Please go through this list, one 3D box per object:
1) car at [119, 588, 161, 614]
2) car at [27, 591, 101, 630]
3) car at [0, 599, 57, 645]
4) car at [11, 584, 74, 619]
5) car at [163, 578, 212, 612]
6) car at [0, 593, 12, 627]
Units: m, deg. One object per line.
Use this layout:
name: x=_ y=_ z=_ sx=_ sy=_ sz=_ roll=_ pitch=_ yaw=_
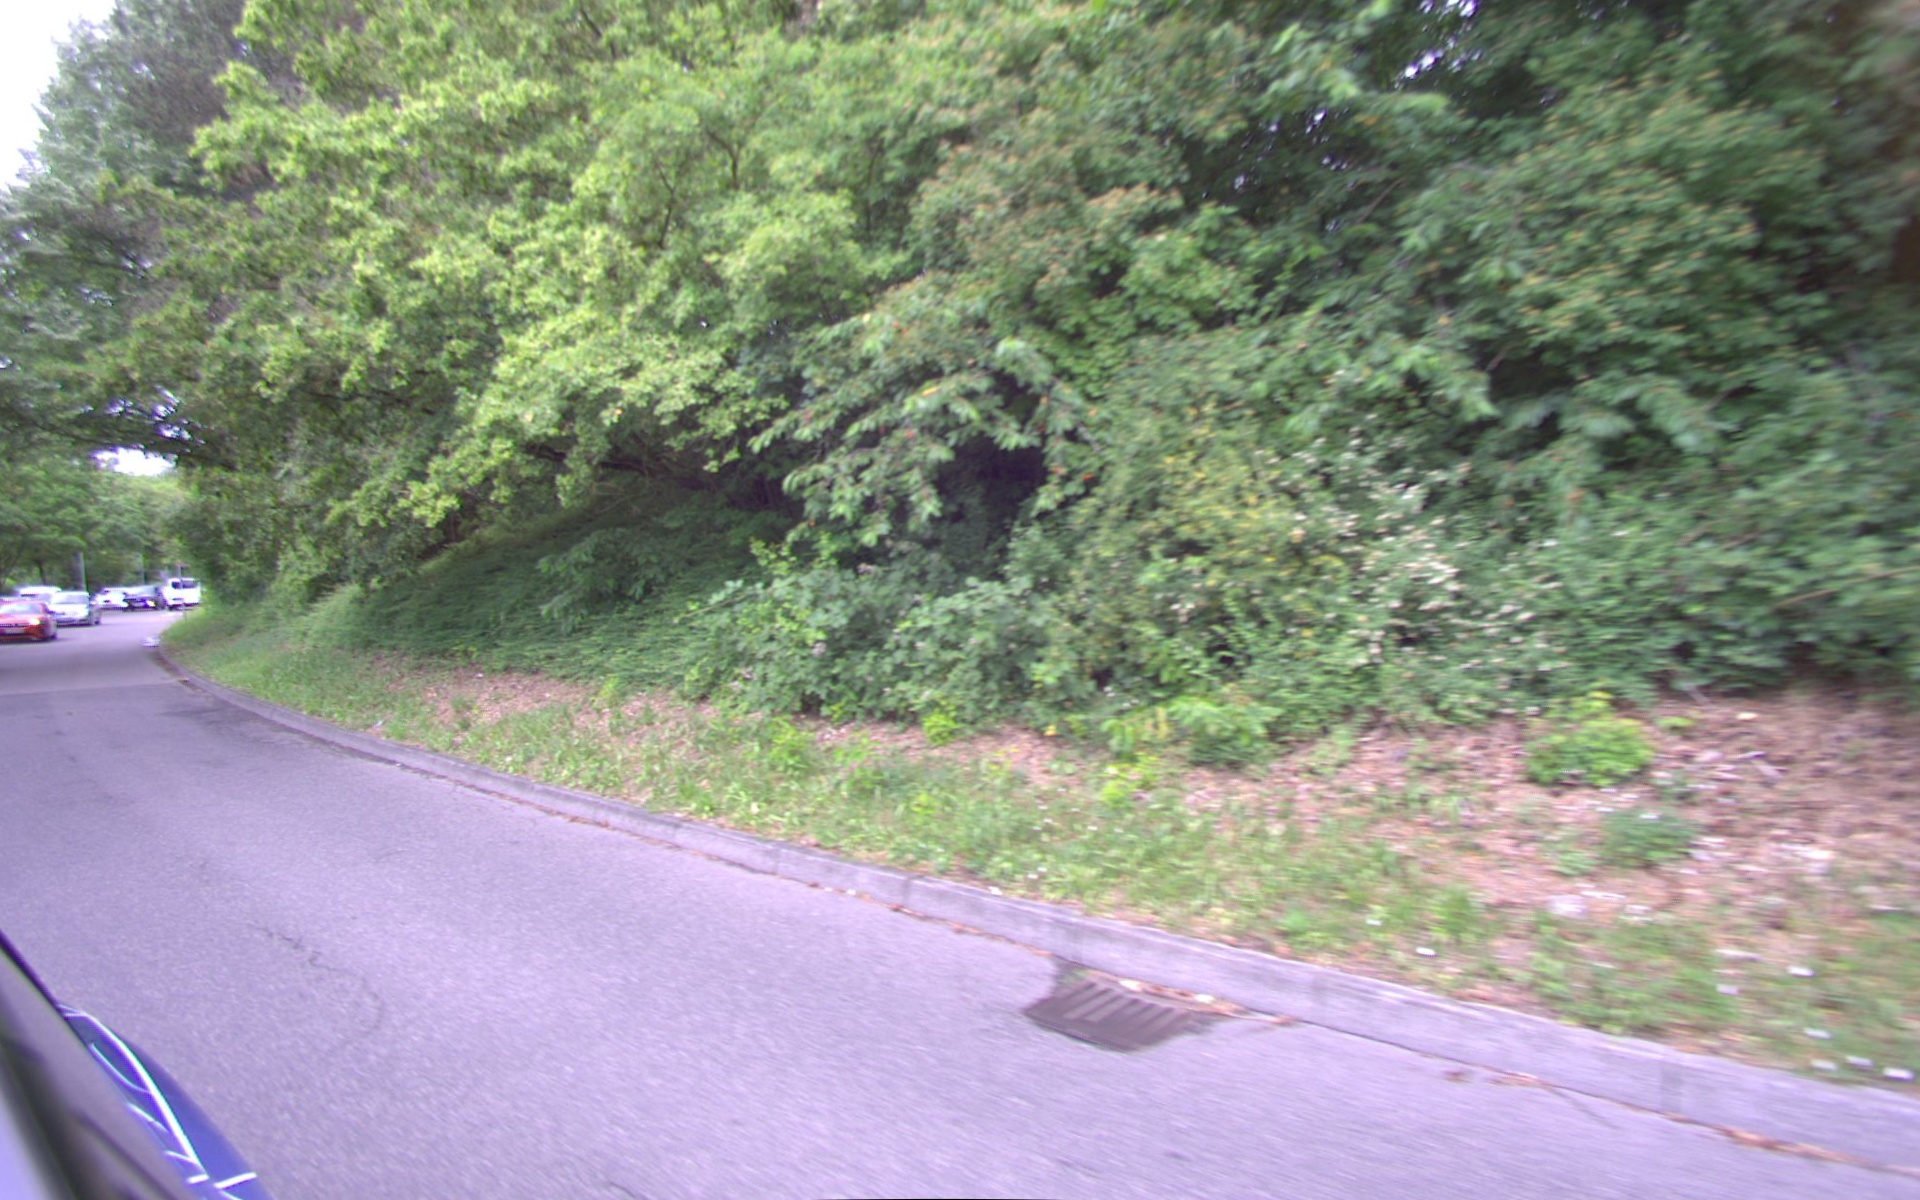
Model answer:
car: x=-53.293 y=0.051 z=65.816 sx=1.740 sy=1.528 sz=4.011 roll=-3 pitch=2 yaw=-34
car: x=-40.998 y=0.444 z=46.397 sx=1.892 sy=1.694 sz=4.011 roll=0 pitch=0 yaw=-32
car: x=-32.746 y=0.732 z=34.869 sx=1.837 sy=1.459 sz=4.187 roll=-3 pitch=2 yaw=-34
car: x=-48.512 y=0.060 z=53.569 sx=1.837 sy=1.739 sz=4.187 roll=-3 pitch=2 yaw=-34
car: x=-49.728 y=-0.364 z=65.194 sx=2.115 sy=2.028 sz=4.012 roll=-2 pitch=3 yaw=-33
car: x=-41.124 y=0.453 z=42.071 sx=1.837 sy=1.459 sz=4.187 roll=-3 pitch=2 yaw=-34
